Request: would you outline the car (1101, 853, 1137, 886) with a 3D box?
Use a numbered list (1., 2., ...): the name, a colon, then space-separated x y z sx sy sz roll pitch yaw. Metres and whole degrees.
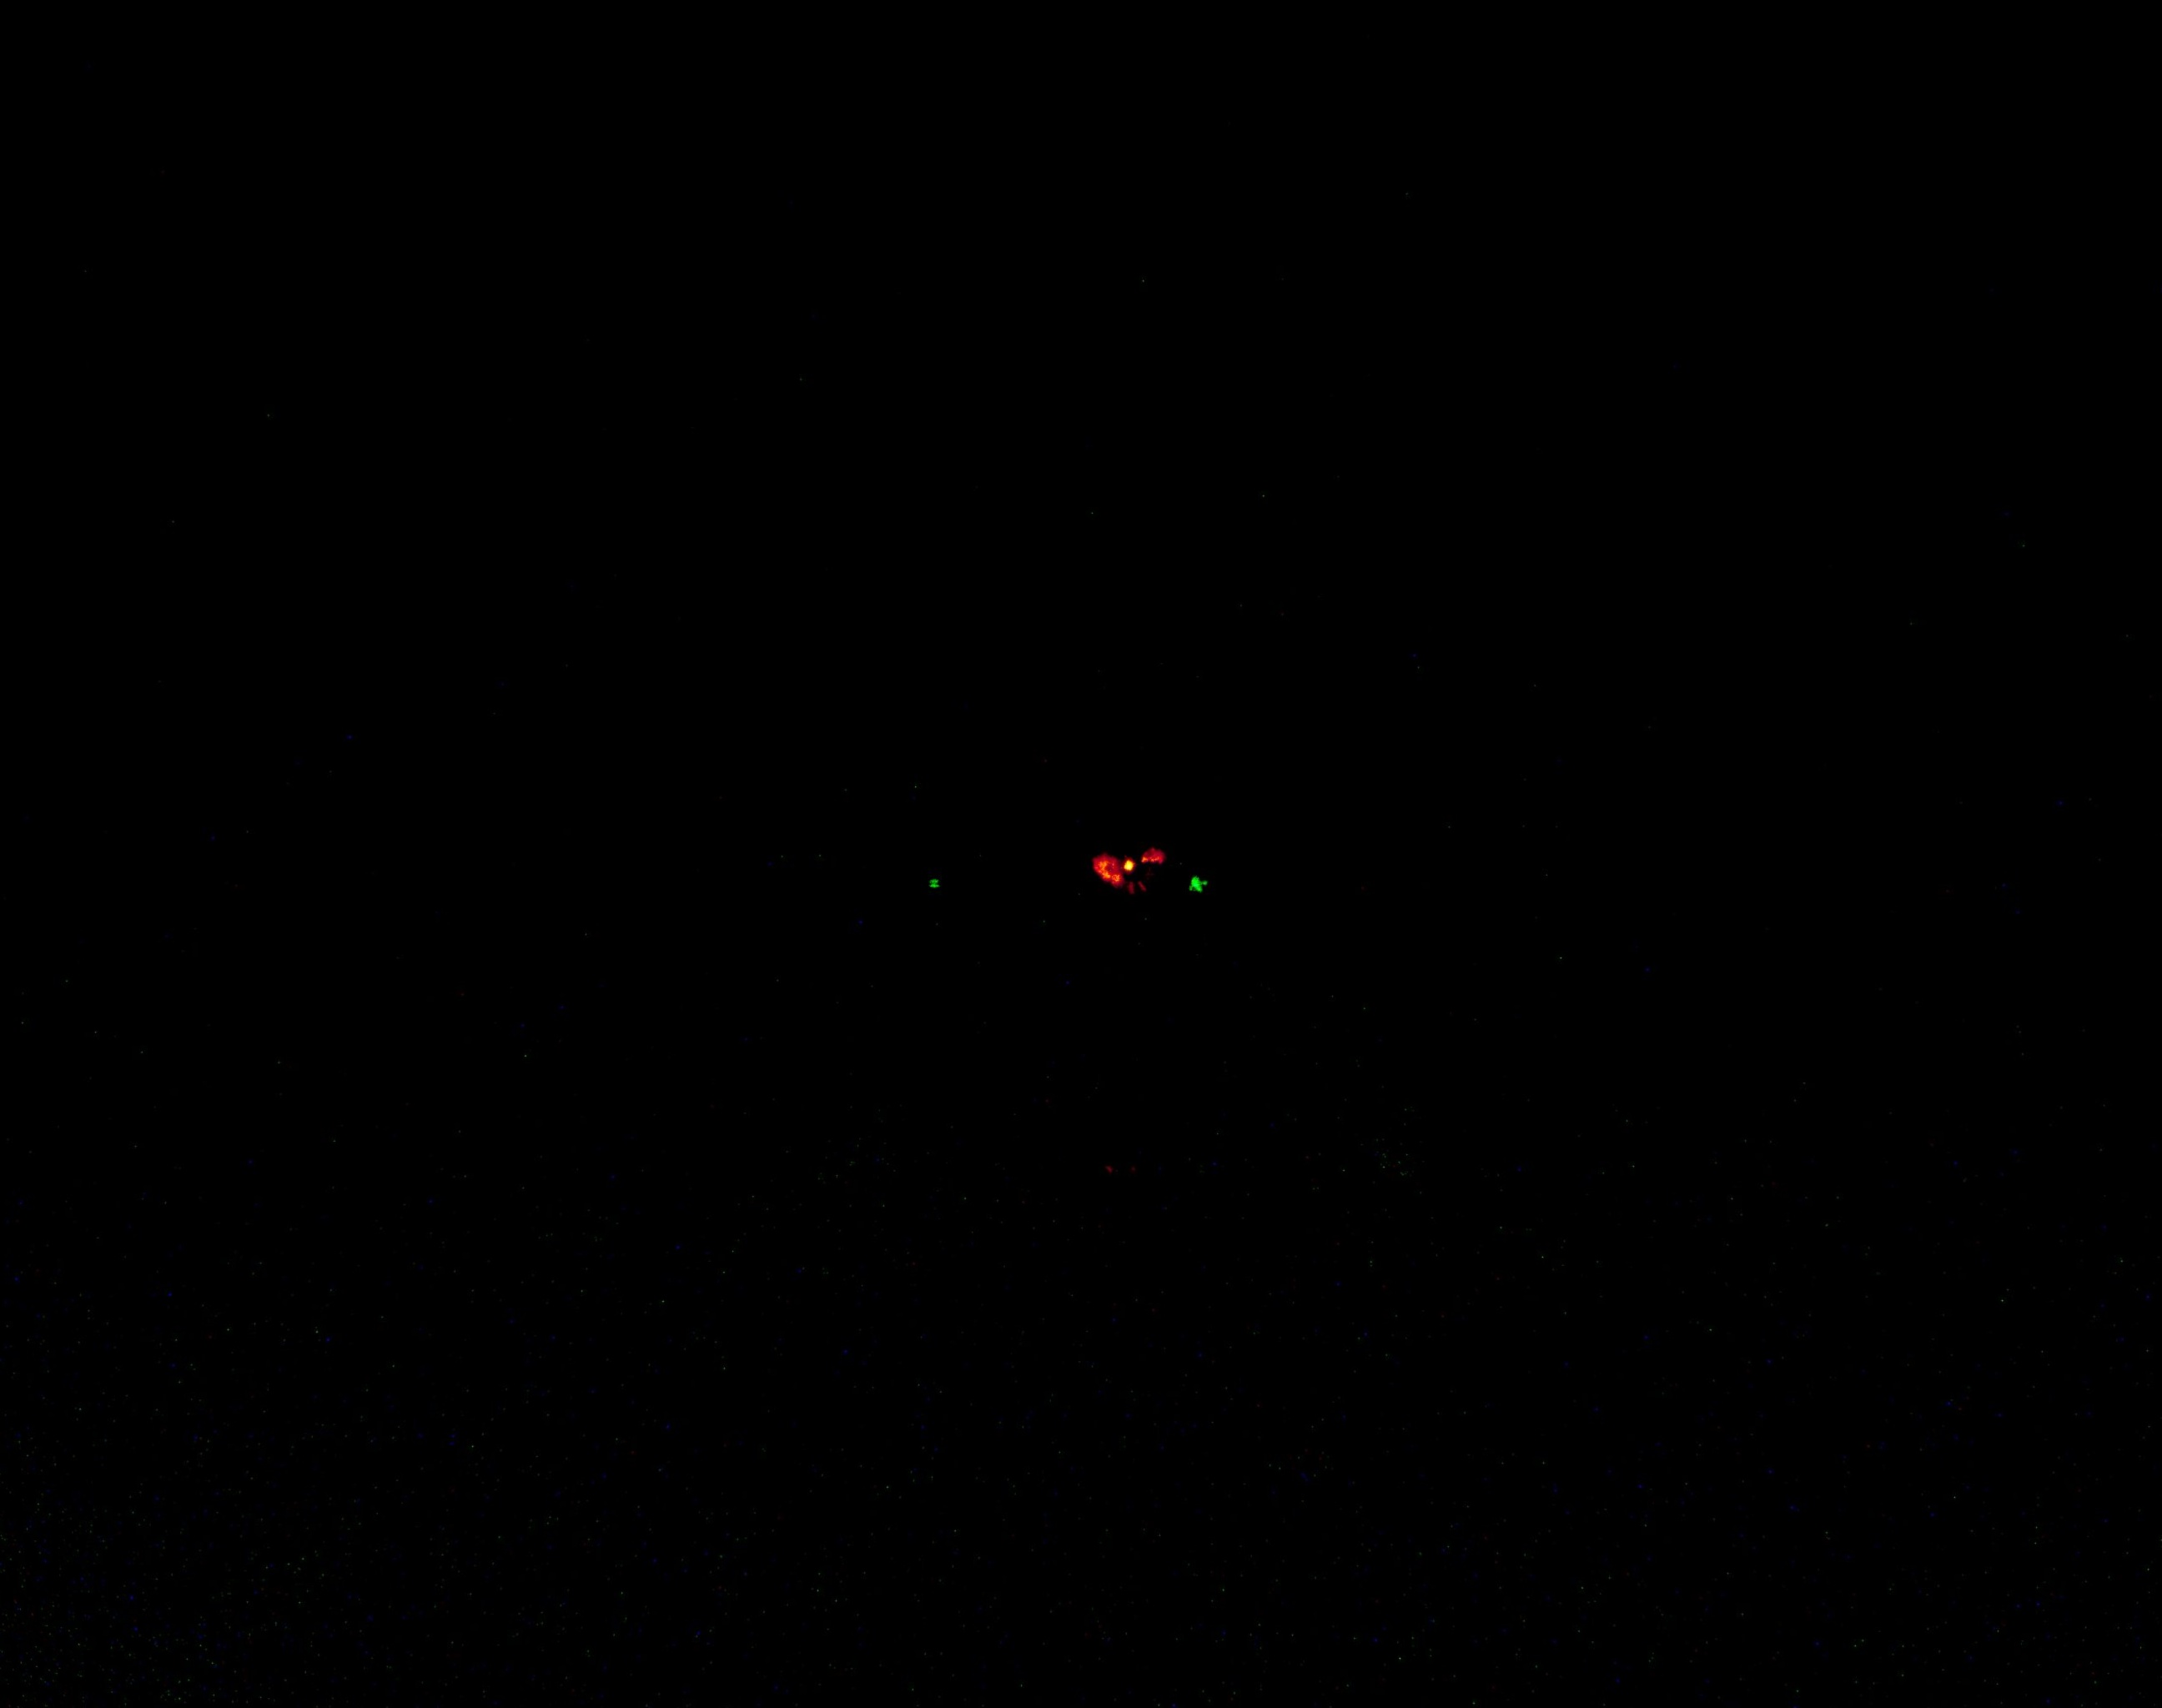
1. car: 2.224 0.853 46.565 1.834 1.740 4.005 -1 0 5
